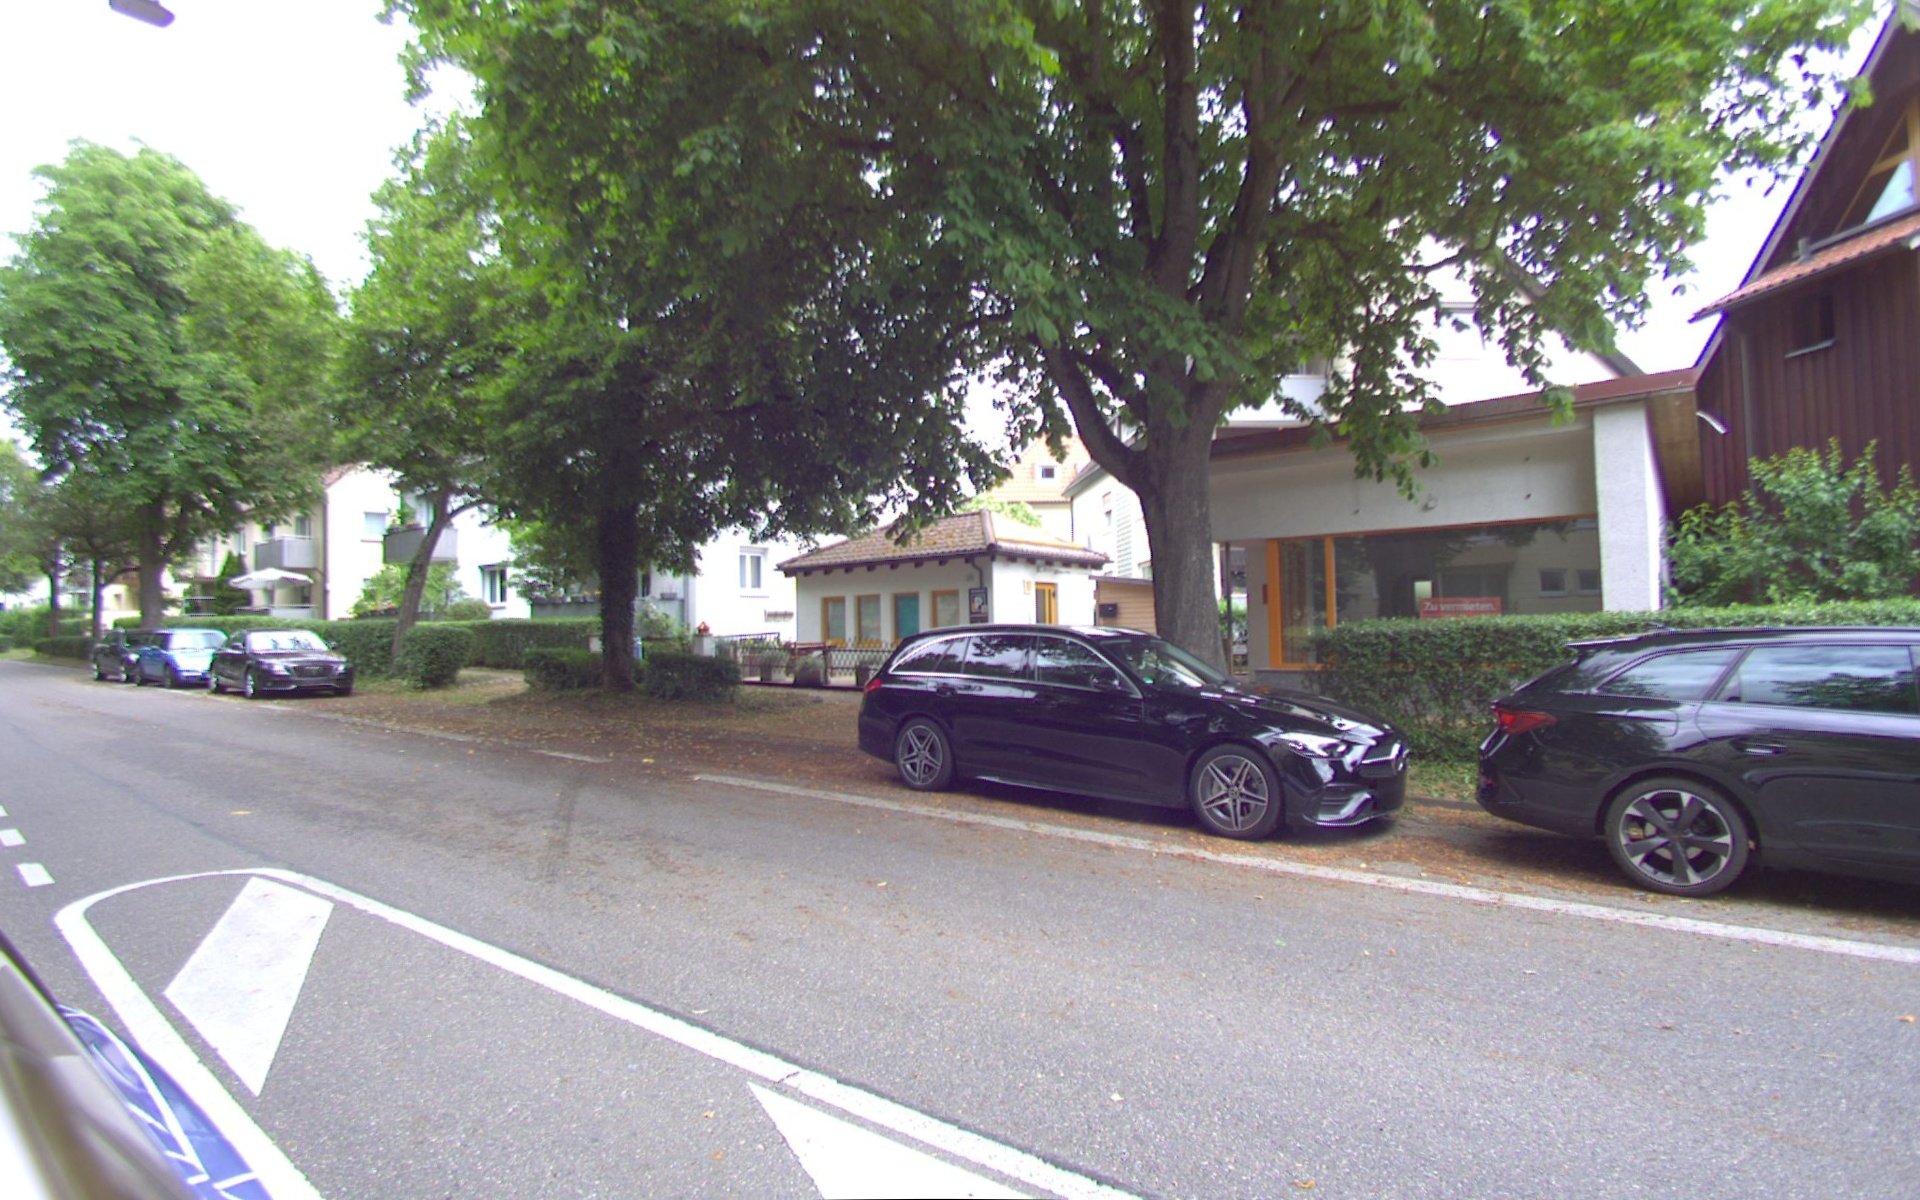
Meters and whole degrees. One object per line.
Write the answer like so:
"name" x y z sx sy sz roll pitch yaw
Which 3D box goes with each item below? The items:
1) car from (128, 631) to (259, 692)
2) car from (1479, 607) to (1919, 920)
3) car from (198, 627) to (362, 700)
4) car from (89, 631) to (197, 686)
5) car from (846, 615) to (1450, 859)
"car" -18.863 1.475 24.837 4.147 1.387 1.617 -2 -3 39
"car" 5.331 0.779 5.171 4.509 1.461 1.728 -1 -2 39
"car" -14.516 1.313 21.501 4.592 1.387 1.827 -3 -3 42
"car" -22.258 1.571 27.522 3.767 1.387 1.521 -2 -3 39
"car" 1.281 0.884 8.237 4.590 1.461 1.727 -1 -2 40
